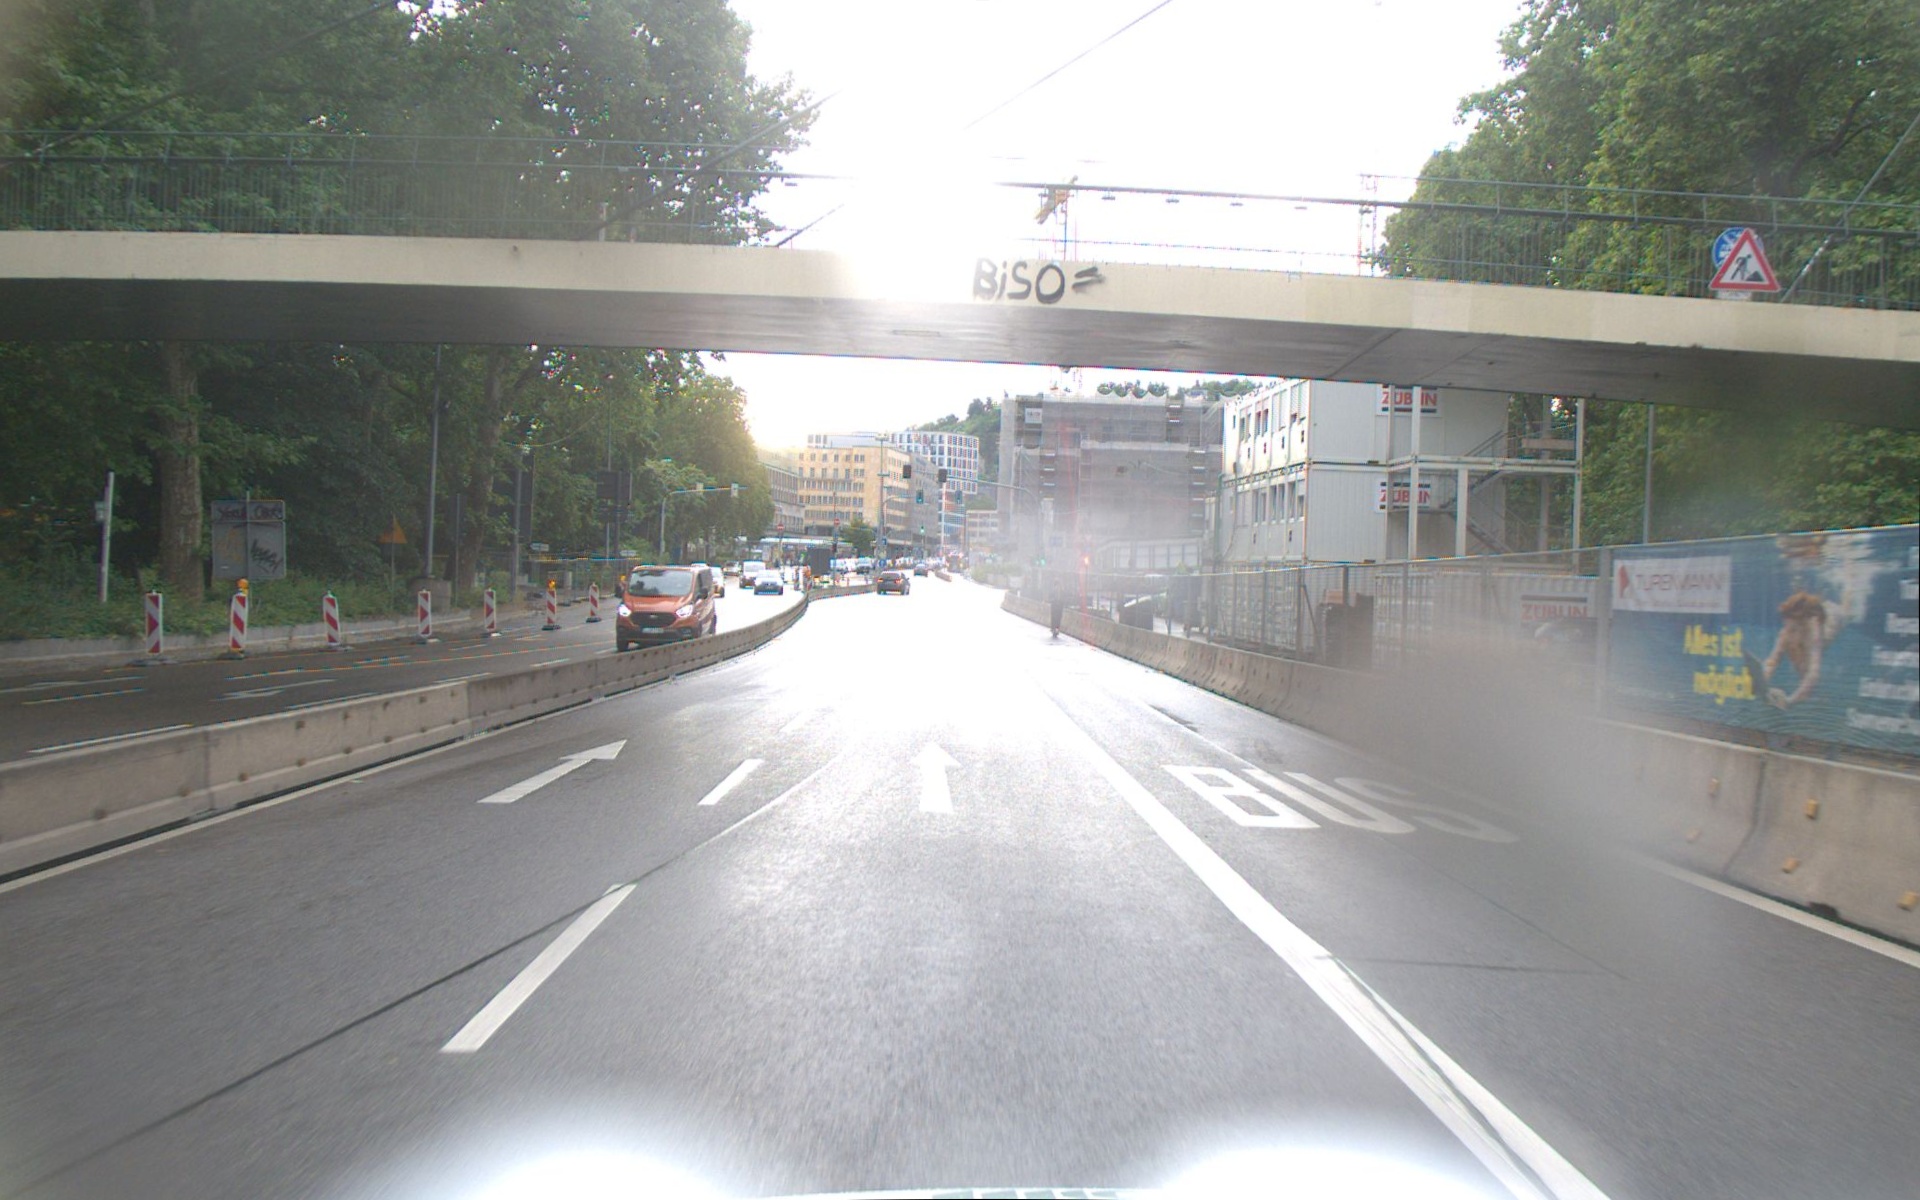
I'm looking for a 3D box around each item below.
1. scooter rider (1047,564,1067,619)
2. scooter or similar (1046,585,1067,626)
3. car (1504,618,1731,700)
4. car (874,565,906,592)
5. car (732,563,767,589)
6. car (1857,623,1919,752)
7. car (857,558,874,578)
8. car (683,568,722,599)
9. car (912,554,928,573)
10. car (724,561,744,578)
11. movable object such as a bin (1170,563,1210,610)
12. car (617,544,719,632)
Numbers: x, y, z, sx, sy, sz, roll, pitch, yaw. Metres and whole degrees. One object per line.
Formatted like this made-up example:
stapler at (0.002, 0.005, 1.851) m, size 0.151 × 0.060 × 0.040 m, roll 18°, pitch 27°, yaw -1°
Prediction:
scooter rider at (3.288, -0.281, 56.158) m, size 0.585 × 1.817 × 0.997 m, roll 2°, pitch 0°, yaw 0°
scooter or similar at (3.267, 0.173, 56.198) m, size 0.585 × 1.342 × 1.667 m, roll 2°, pitch 0°, yaw 0°
car at (14.927, 1.323, 37.692) m, size 4.453 × 1.657 × 1.786 m, roll 2°, pitch 0°, yaw -4°
car at (-4.494, -1.353, 105.813) m, size 1.865 × 1.555 × 4.173 m, roll 0°, pitch -2°, yaw -5°
car at (-14.574, -1.667, 114.766) m, size 1.990 × 1.682 × 4.908 m, roll 0°, pitch 0°, yaw -3°
car at (15.288, 1.288, 23.195) m, size 4.413 × 1.758 × 1.997 m, roll 2°, pitch -1°, yaw -7°
car at (-10.968, -3.732, 191.574) m, size 1.865 × 2.119 × 4.173 m, roll 0°, pitch -2°, yaw -5°
car at (-14.382, -0.945, 92.520) m, size 1.992 × 1.682 × 4.312 m, roll 1°, pitch 1°, yaw -7°
car at (-4.925, -4.520, 204.959) m, size 1.953 × 2.049 × 3.999 m, roll 0°, pitch -2°, yaw -1°
car at (-23.325, -3.143, 170.719) m, size 1.955 × 1.568 × 4.438 m, roll 0°, pitch -2°, yaw -7°
movable object such as a bin at (11.342, -0.674, 81.756) m, size 1.438 × 2.241 × 1.255 m, roll 2°, pitch 1°, yaw -26°
car at (-7.110, -0.222, 40.708) m, size 1.991 × 1.970 × 5.038 m, roll 0°, pitch -2°, yaw -5°
